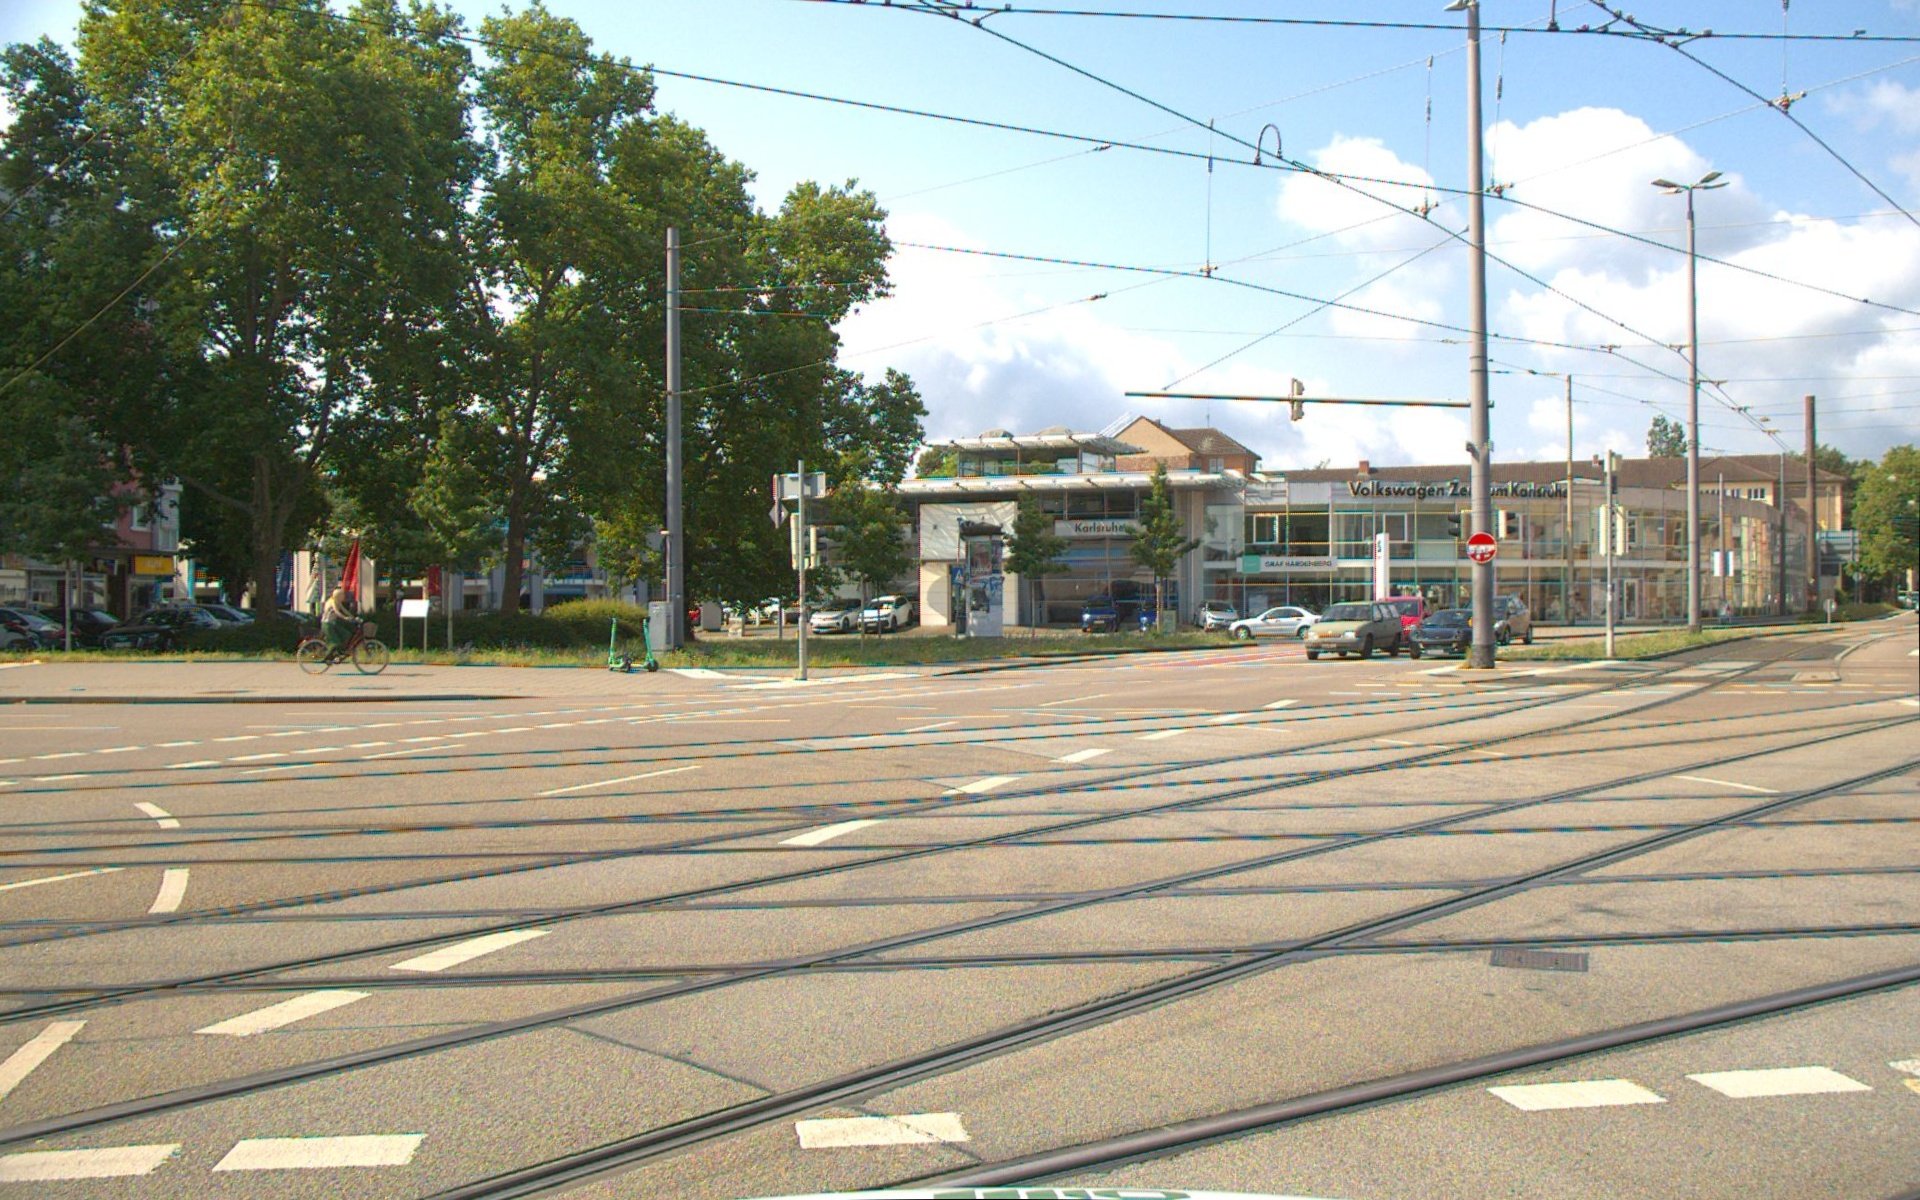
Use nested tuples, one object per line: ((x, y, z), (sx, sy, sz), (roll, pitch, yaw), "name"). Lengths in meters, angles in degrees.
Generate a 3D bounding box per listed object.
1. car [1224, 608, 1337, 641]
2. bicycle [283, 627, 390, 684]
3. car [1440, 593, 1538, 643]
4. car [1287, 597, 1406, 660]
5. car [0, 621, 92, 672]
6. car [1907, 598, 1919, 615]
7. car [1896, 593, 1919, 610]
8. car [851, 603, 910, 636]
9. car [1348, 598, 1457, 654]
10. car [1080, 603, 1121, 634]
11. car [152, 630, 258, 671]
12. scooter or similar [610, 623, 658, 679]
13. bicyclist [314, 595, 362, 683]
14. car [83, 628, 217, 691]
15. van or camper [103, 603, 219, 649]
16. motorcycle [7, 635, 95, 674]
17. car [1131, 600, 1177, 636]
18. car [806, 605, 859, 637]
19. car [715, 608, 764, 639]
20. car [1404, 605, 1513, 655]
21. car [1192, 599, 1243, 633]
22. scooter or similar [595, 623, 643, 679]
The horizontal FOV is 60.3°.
((13.660, 1.028, 70.459), (4.441, 1.378, 2.000), (0, 0, 21), "car")
((-12.790, 1.132, 33.984), (1.950, 1.147, 0.787), (0, -1, -12), "bicycle")
((17.350, 0.572, 54.181), (1.959, 1.579, 3.986), (-1, 0, 35), "car")
((9.919, 0.698, 42.272), (1.788, 1.539, 3.990), (0, 0, 32), "car")
((-29.977, 1.472, 52.750), (3.490, 1.557, 2.000), (0, 0, -1), "car")
((86.367, 0.589, 148.759), (1.956, 1.517, 3.994), (-1, 0, 29), "car")
((79.133, 0.143, 137.748), (1.956, 1.355, 3.993), (-1, 0, 29), "car")
((-4.064, 0.974, 85.261), (2.023, 1.632, 4.003), (-1, 0, 12), "car")
((12.748, 0.728, 47.531), (1.958, 1.545, 3.990), (0, 0, 32), "car")
((6.967, 0.905, 81.612), (1.879, 1.470, 4.003), (-1, 0, 7), "car")
((-30.812, 2.062, 67.549), (3.532, 1.622, 1.667), (0, 0, 3), "car")
((-7.036, 1.106, 35.715), (0.920, 1.177, 0.376), (2, 2, -39), "scooter or similar")
((-12.768, 0.795, 33.985), (0.811, 1.775, 0.710), (0, -1, -12), "bicyclist")
((-23.639, 1.703, 48.409), (1.754, 1.444, 4.002), (4, 2, 2), "car")
((-44.531, 1.421, 92.200), (5.754, 2.512, 2.394), (0, 0, 19), "van or camper")
((-23.177, 1.383, 42.186), (1.880, 0.918, 0.595), (0, 1, -44), "motorcycle")
((9.432, 0.861, 80.258), (1.878, 1.469, 4.005), (2, 3, 11), "car")
((-6.633, 1.081, 86.370), (1.951, 1.601, 4.003), (0, 0, 8), "car")
((-11.681, 1.226, 87.887), (1.645, 1.624, 4.003), (0, 0, 7), "car")
((12.371, 0.717, 40.925), (1.592, 1.182, 3.990), (0, 0, 32), "car")
((12.664, 0.768, 81.171), (1.879, 1.579, 4.002), (-1, 0, 18), "car")
((-7.444, 1.109, 36.131), (0.915, 1.177, 0.378), (2, 2, -28), "scooter or similar")
